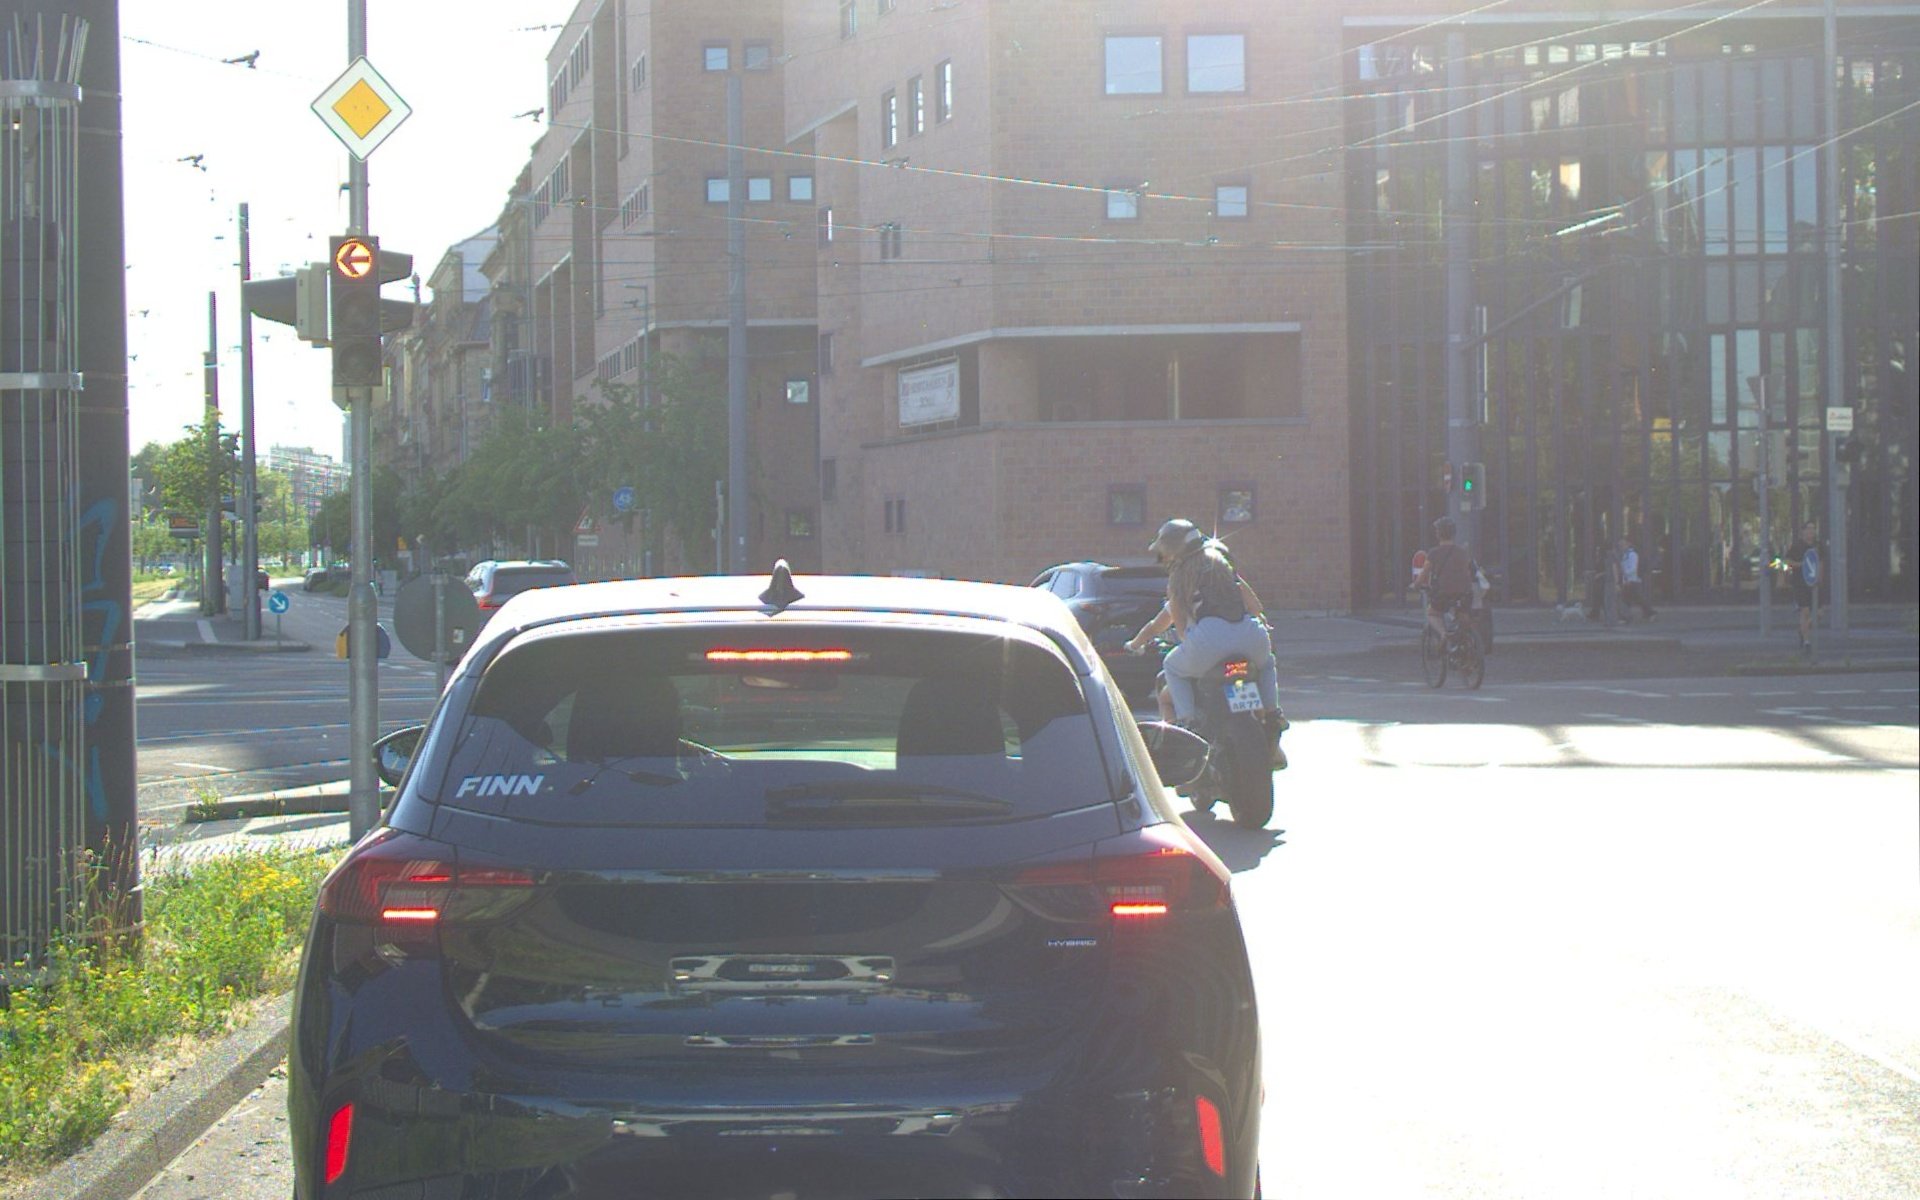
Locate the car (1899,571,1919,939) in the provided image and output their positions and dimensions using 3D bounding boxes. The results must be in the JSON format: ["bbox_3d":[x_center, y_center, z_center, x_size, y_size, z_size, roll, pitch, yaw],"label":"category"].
[{"bbox_3d":[4.821,0.652,11.888,1.807,1.452,4.001,0,1,-4],"label":"car"}]

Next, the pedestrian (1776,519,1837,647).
[{"bbox_3d":[11.659,-0.232,47.347,0.707,1.753,0.560,0,1,25],"label":"pedestrian"}]

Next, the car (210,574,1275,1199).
[{"bbox_3d":[-0.315,0.681,7.353,1.649,1.428,4.000,-1,1,1],"label":"car"}]

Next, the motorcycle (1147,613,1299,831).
[{"bbox_3d":[1.456,0.657,19.338,0.775,1.111,1.969,-1,1,2],"label":"motorcycle"}]

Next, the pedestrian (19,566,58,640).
[{"bbox_3d":[-20.560,0.069,76.728,0.765,1.634,0.744,-1,1,-11],"label":"pedestrian"}]

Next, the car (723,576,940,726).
[{"bbox_3d":[-1.330,0.456,33.932,1.737,1.345,4.001,-1,1,-8],"label":"car"}]

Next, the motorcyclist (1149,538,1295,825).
[{"bbox_3d":[1.428,0.426,18.880,0.745,1.525,1.021,-1,1,2],"label":"motorcyclist"}]

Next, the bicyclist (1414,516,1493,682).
[{"bbox_3d":[5.394,-0.018,37.609,0.577,1.785,0.864,-1,1,-12],"label":"bicyclist"}]

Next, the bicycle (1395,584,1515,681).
[{"bbox_3d":[5.393,0.341,37.616,0.491,0.994,2.329,-1,1,-13],"label":"bicycle"}]

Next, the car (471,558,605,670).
[{"bbox_3d":[-6.594,0.185,53.427,1.737,1.645,4.001,-1,1,-12],"label":"car"}]

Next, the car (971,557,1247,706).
[{"bbox_3d":[1.503,0.291,36.242,1.807,1.452,4.001,0,1,-15],"label":"car"}]

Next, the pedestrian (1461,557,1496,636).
[{"bbox_3d":[9.436,-0.060,62.536,0.529,1.425,0.598,-1,1,-1],"label":"pedestrian"}]

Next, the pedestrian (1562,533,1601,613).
[{"bbox_3d":[12.626,-0.553,69.896,0.738,1.611,0.560,-1,1,8],"label":"pedestrian"}]

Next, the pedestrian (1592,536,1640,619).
[{"bbox_3d":[12.951,-0.448,67.873,0.900,1.611,0.560,-1,1,8],"label":"pedestrian"}]

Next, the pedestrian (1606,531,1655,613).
[{"bbox_3d":[13.382,-0.567,68.638,0.900,1.611,0.560,-1,1,8],"label":"pedestrian"}]
